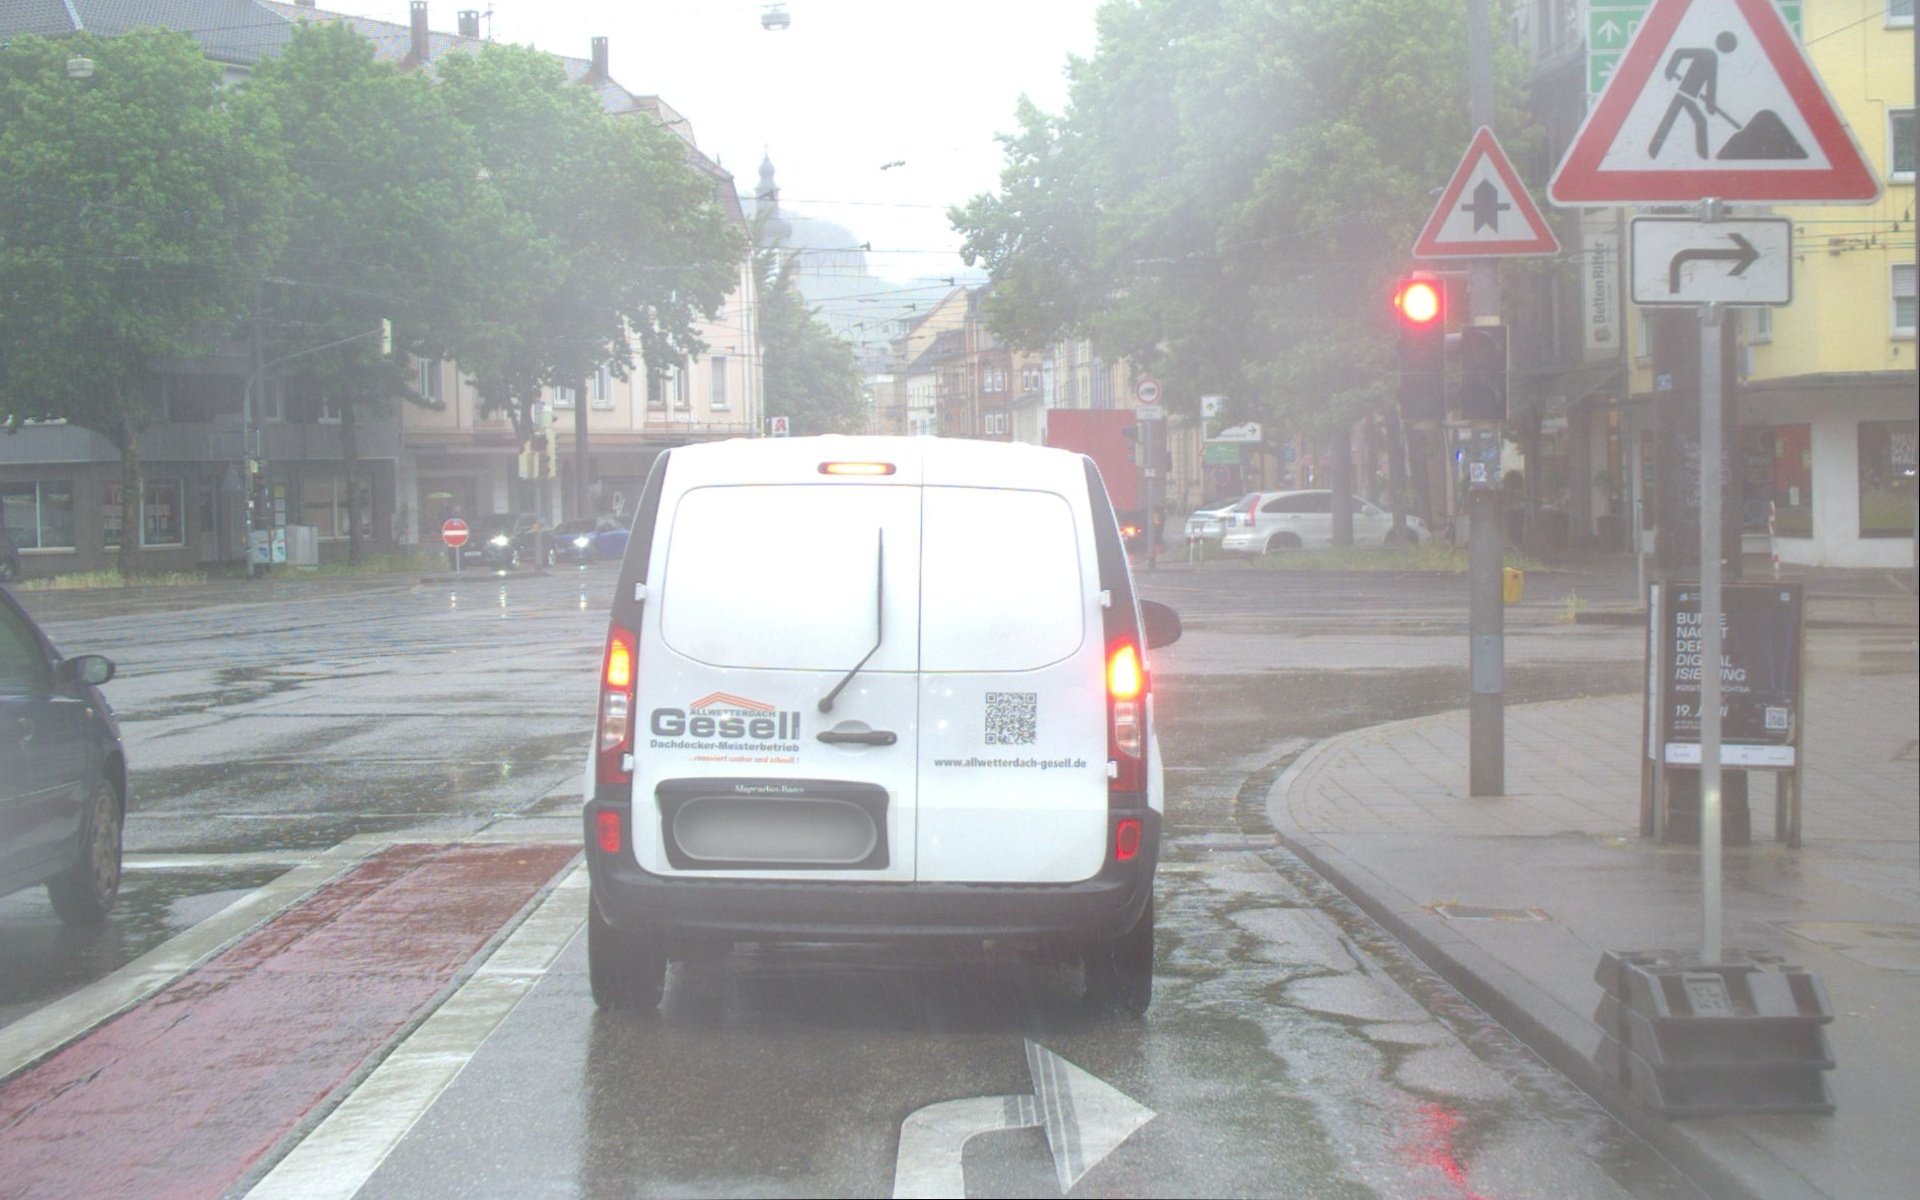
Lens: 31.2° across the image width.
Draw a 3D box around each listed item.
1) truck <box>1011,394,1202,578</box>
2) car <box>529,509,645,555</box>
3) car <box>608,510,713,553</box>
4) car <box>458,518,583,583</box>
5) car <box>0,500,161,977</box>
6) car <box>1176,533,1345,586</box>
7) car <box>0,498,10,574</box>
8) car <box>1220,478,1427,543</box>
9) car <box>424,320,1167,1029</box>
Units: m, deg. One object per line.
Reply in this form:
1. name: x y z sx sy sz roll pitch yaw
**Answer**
1. truck: 4.579 -3.332 102.890 3.471 5.070 15.300 1 1 11
2. car: -10.867 -2.001 100.483 1.952 1.235 3.997 0 3 17
3. car: -9.423 -2.183 108.301 1.952 1.235 3.997 0 3 17
4. car: -12.019 -1.379 94.238 1.952 1.602 3.997 1 3 17
5. car: -4.026 0.441 11.729 1.727 1.573 3.821 0 1 0
6. car: 6.599 -0.897 75.620 3.441 1.126 1.472 0 1 -8
7. car: -26.943 -1.673 89.696 1.996 2.007 3.994 1 1 27
8. car: 7.768 -1.922 73.569 4.165 1.334 1.521 -1 2 -7
9. car: -0.479 0.169 12.229 2.100 2.005 4.963 0 1 0
